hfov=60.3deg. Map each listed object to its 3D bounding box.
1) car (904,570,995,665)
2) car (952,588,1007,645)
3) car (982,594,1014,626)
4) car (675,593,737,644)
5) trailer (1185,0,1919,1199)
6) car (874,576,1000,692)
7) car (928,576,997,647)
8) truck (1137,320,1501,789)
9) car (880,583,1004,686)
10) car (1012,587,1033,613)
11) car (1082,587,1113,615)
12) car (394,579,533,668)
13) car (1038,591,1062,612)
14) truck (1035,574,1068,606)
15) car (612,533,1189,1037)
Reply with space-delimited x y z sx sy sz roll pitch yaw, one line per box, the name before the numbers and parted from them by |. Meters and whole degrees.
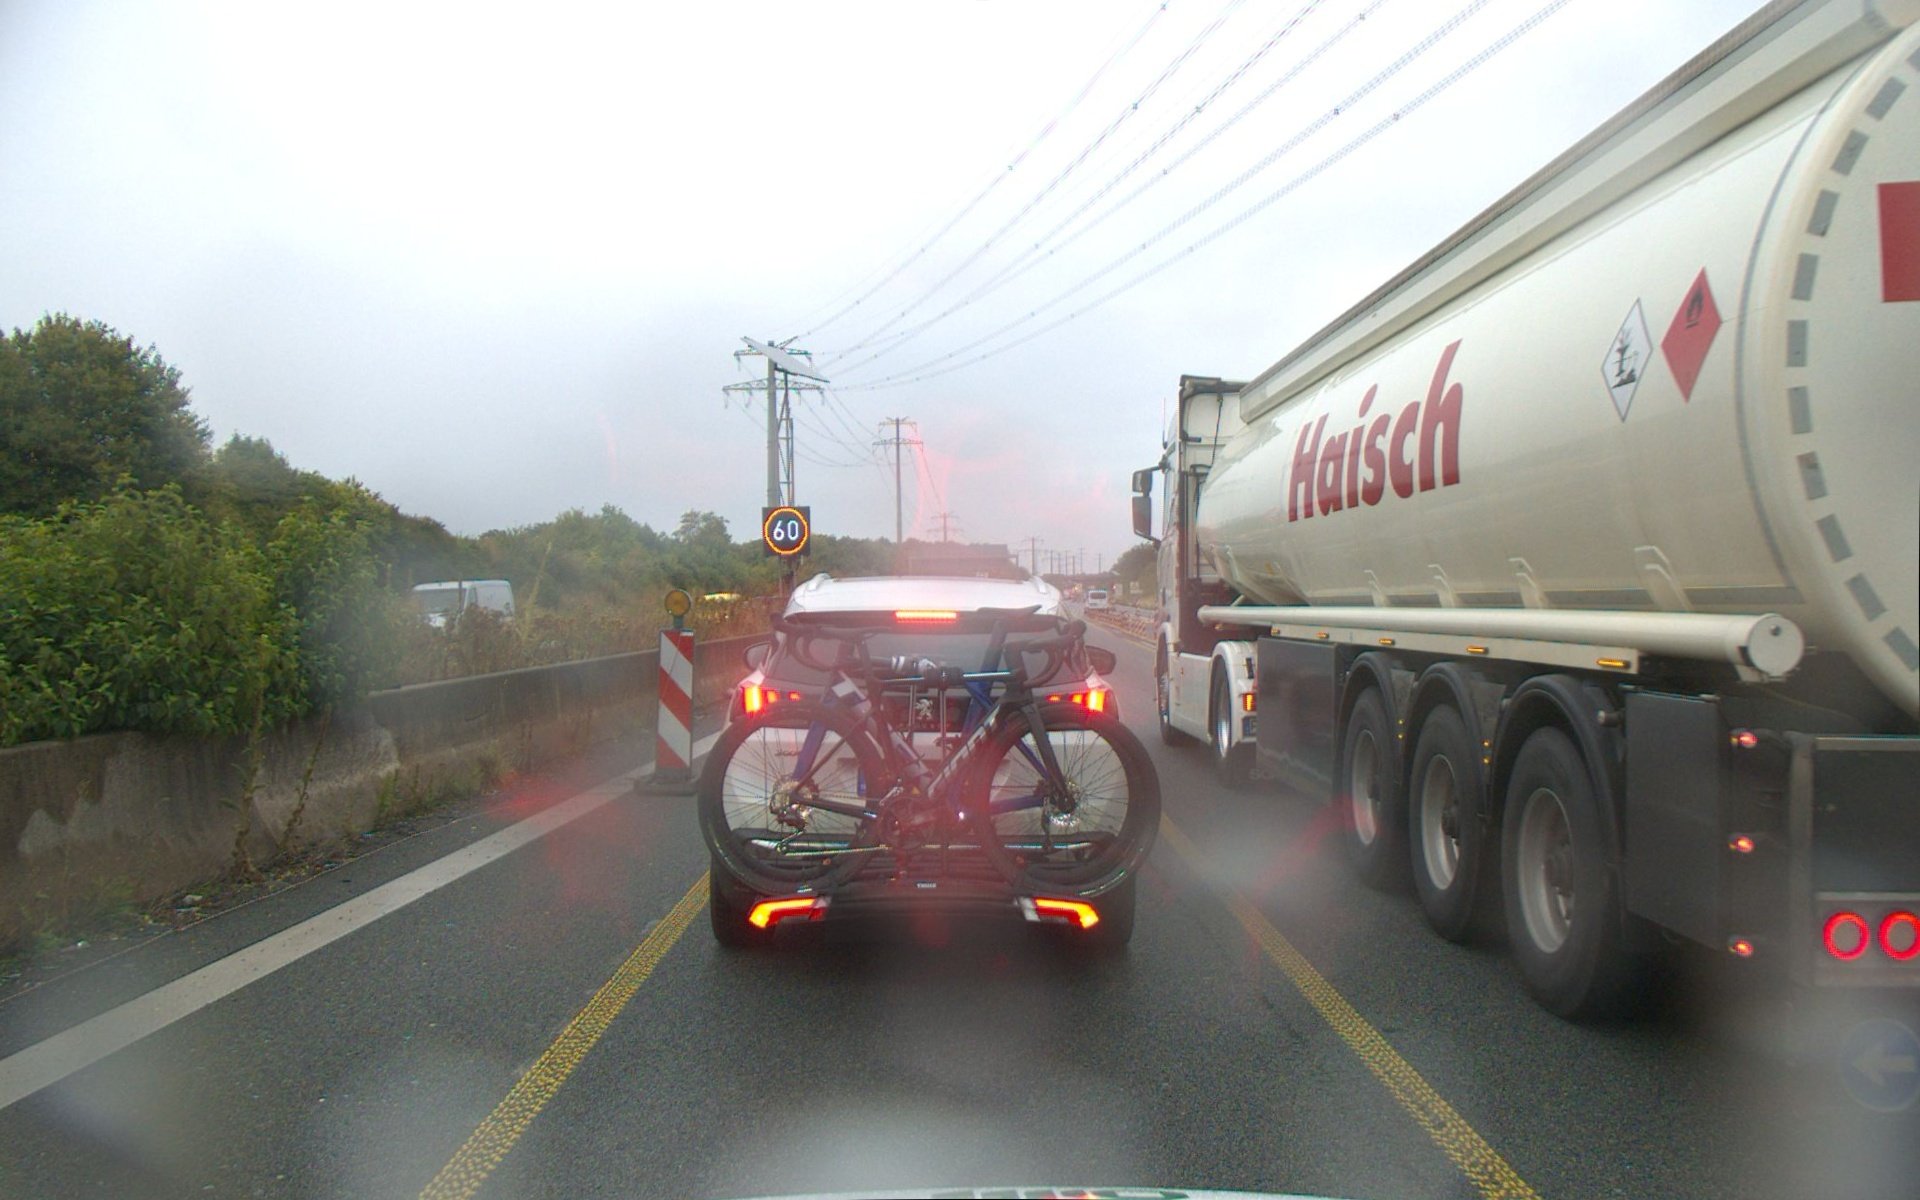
car | -0.250 0.367 38.475 1.953 2.049 3.999 -1 0 -1
car | 0.718 0.631 62.621 1.953 2.049 3.999 1 0 -1
car | 2.496 0.667 109.337 1.953 2.049 3.999 1 0 -1
car | -11.222 0.791 73.446 1.953 2.083 4.778 -1 1 0
trailer | 3.400 -0.408 9.485 2.584 3.961 10.541 1 0 -1
car | -0.332 0.520 28.177 1.952 1.791 4.000 -1 0 1
car | 0.048 0.314 50.263 1.953 2.049 4.000 -1 1 -1
truck | 3.288 -0.374 16.146 2.591 3.959 4.029 1 -1 -1
car | -0.314 0.535 28.071 1.953 1.611 3.999 0 0 -1
car | 5.201 0.000 136.896 1.619 2.049 4.002 0 0 3
car | 10.612 0.078 127.905 1.953 2.049 3.999 -1 0 -1
car | -14.850 0.634 49.840 2.193 2.483 5.885 -1 1 2
car | 8.667 0.162 159.575 1.953 2.049 3.999 1 0 -1
truck | 11.451 -1.178 208.249 3.654 3.889 11.870 -1 0 1
car | -0.138 0.599 7.741 1.888 1.639 4.596 0 0 1
